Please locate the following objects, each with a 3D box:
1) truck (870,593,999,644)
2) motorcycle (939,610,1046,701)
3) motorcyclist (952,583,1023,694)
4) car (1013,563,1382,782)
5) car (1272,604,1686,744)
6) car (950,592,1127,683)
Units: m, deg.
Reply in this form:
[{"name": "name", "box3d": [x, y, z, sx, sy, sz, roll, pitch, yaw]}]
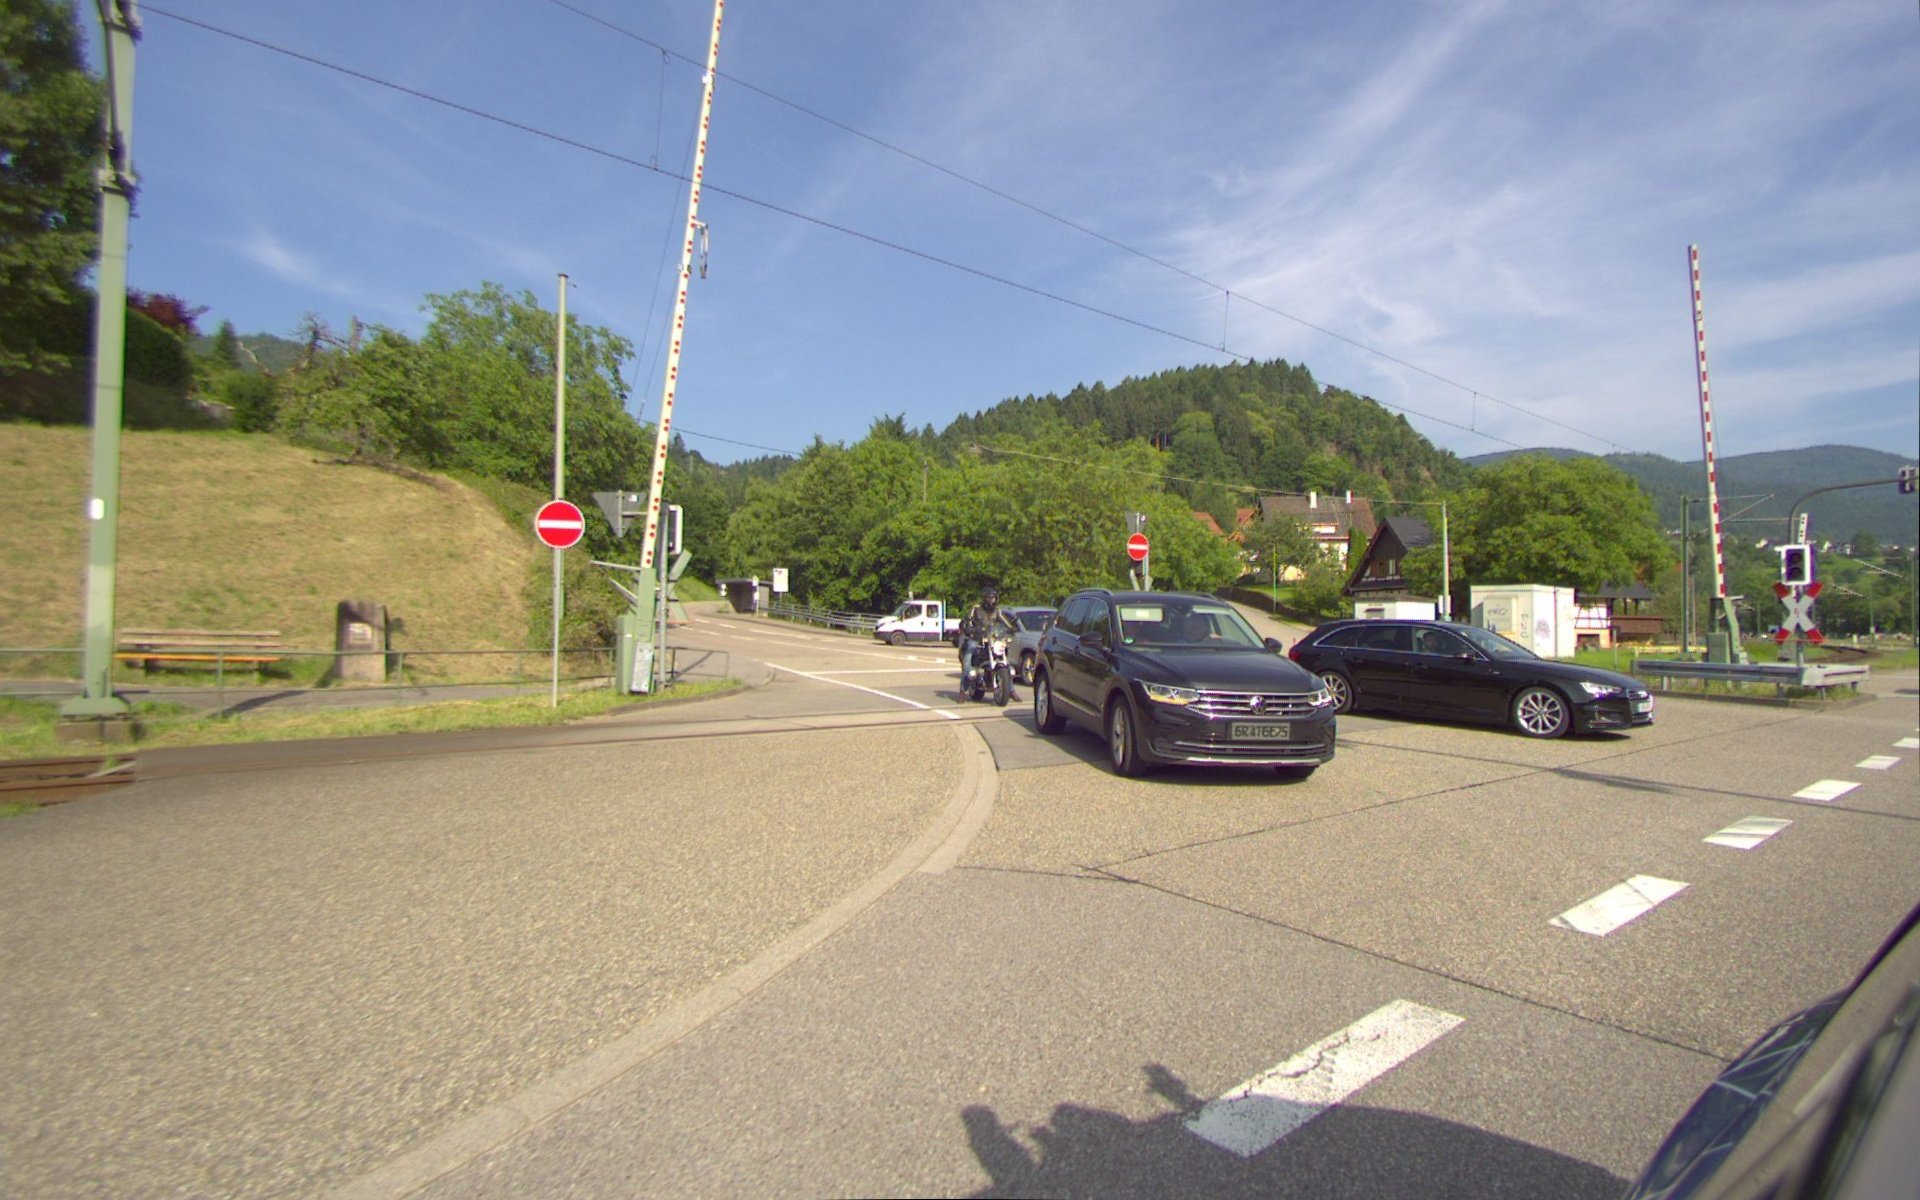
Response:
[{"name": "truck", "box3d": [-1.273, 0.874, 48.496, 5.813, 2.260, 2.412, 1, 0, -11]}, {"name": "motorcycle", "box3d": [0.452, 0.815, 15.293, 0.782, 1.271, 2.103, 2, -2, -23]}, {"name": "motorcyclist", "box3d": [0.415, 0.587, 15.420, 0.749, 1.618, 0.911, 2, -3, -24]}, {"name": "car", "box3d": [2.020, 0.588, 10.287, 1.890, 1.681, 4.749, 2, -1, -10]}, {"name": "car", "box3d": [6.878, 0.866, 13.928, 1.808, 1.488, 4.738, 2, 0, -38]}, {"name": "car", "box3d": [1.536, 0.780, 21.344, 1.797, 1.709, 4.130, 2, -2, -28]}]
